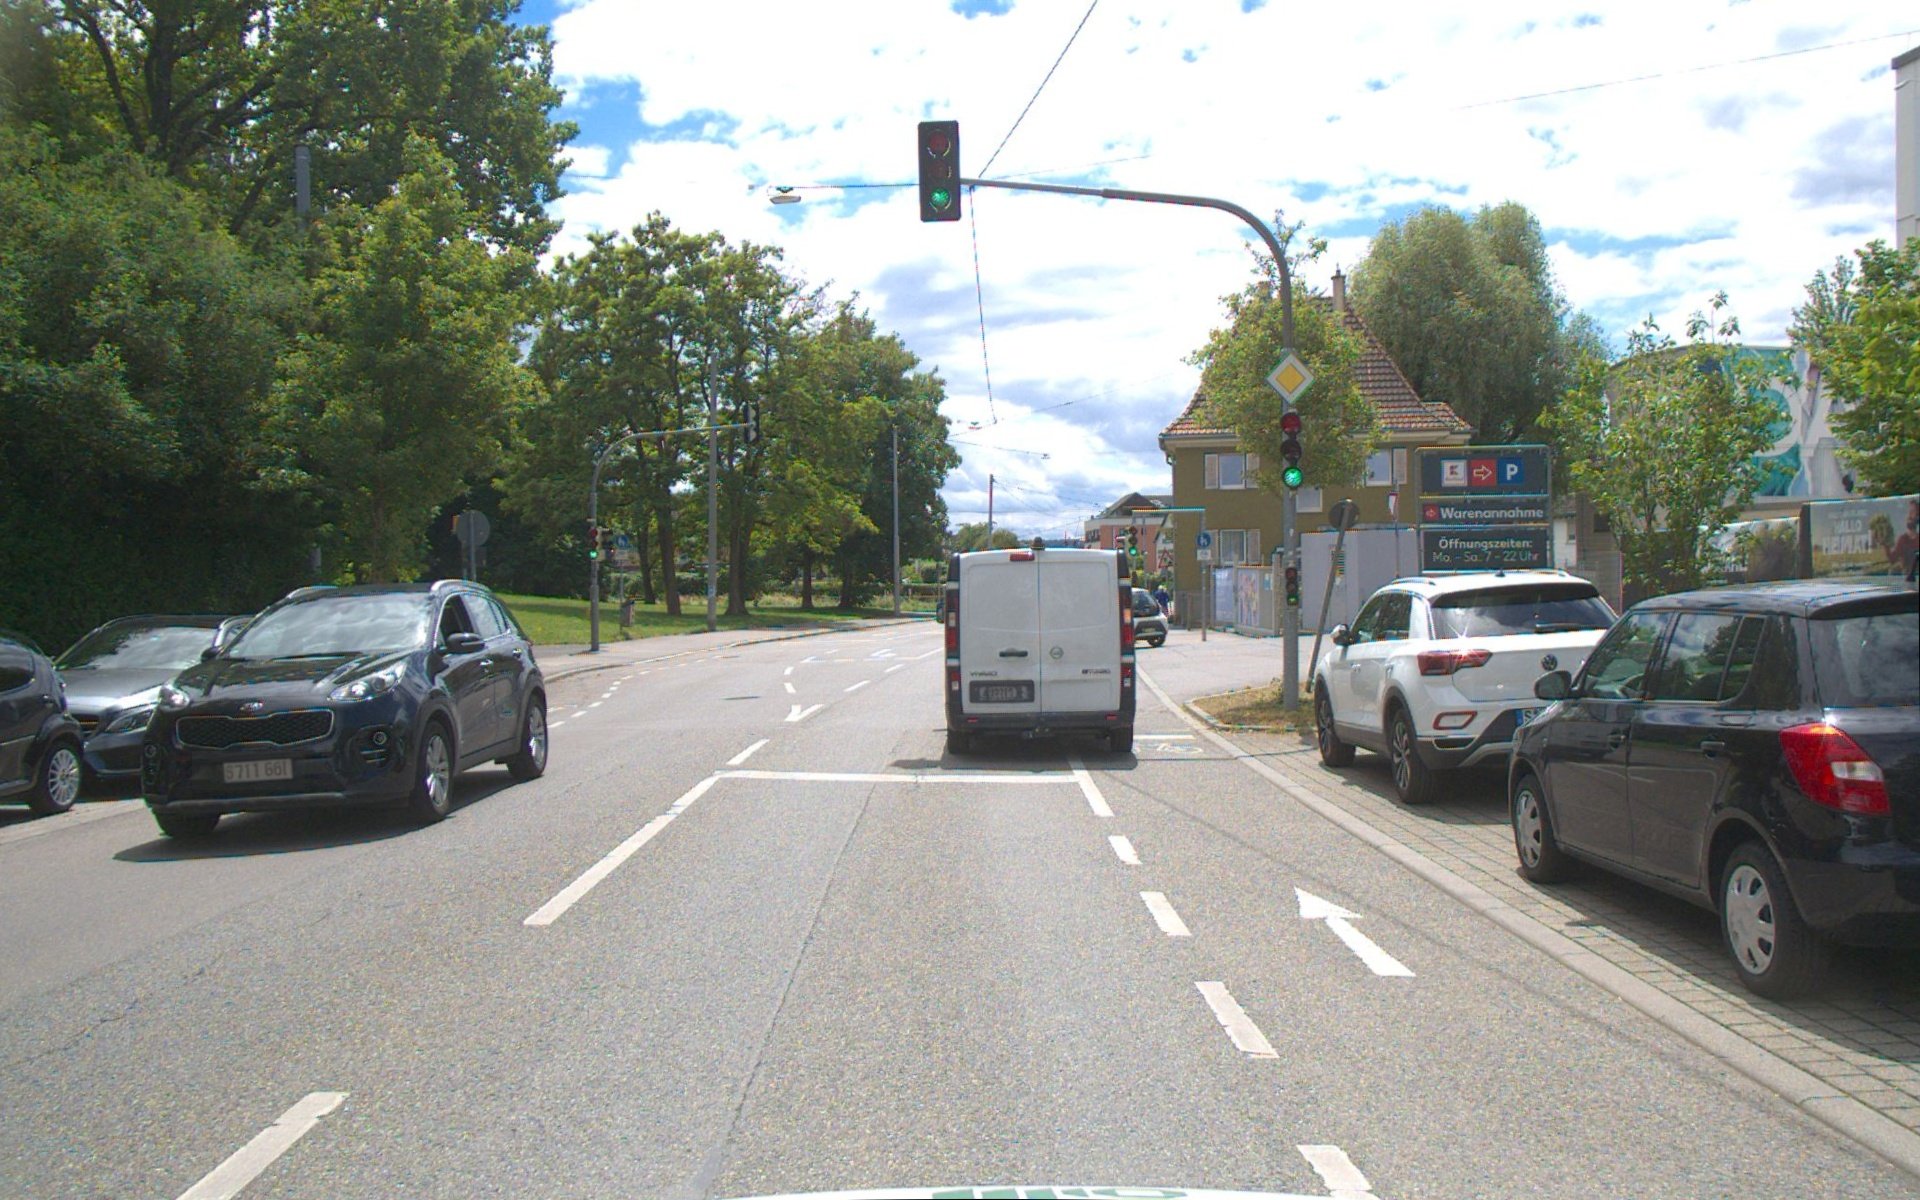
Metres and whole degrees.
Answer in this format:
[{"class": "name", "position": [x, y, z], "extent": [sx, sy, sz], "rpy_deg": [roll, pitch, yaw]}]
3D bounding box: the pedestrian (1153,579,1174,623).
[{"class": "pedestrian", "position": [7.623, 0.030, 61.949], "extent": [0.664, 1.580, 0.836], "rpy_deg": [-3, -3, 5]}]

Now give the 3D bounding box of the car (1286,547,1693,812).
[{"class": "car", "position": [3.939, 0.526, 13.150], "extent": [1.702, 1.644, 4.386], "rpy_deg": [-4, 0, -1]}]

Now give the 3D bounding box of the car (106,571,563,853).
[{"class": "car", "position": [-4.369, 0.683, 12.326], "extent": [1.796, 1.645, 4.151], "rpy_deg": [-3, 0, -1]}]

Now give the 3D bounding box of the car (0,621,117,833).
[{"class": "car", "position": [-7.563, 0.906, 11.490], "extent": [1.562, 1.476, 3.596], "rpy_deg": [0, 0, 0]}]

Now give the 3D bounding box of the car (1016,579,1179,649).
[{"class": "car", "position": [3.419, 0.333, 41.604], "extent": [3.931, 1.634, 1.598], "rpy_deg": [2, 0, 43]}]

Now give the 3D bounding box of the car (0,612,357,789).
[{"class": "car", "position": [-7.414, 0.838, 15.799], "extent": [1.660, 1.389, 4.685], "rpy_deg": [0, 0, -1]}]

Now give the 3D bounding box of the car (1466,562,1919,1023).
[{"class": "car", "position": [3.717, 0.615, 7.522], "extent": [1.536, 1.519, 4.000], "rpy_deg": [-2, 0, 0]}]

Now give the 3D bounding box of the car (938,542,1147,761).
[{"class": "car", "position": [0.730, 0.465, 17.592], "extent": [1.899, 1.995, 4.832], "rpy_deg": [1, 0, -1]}]
